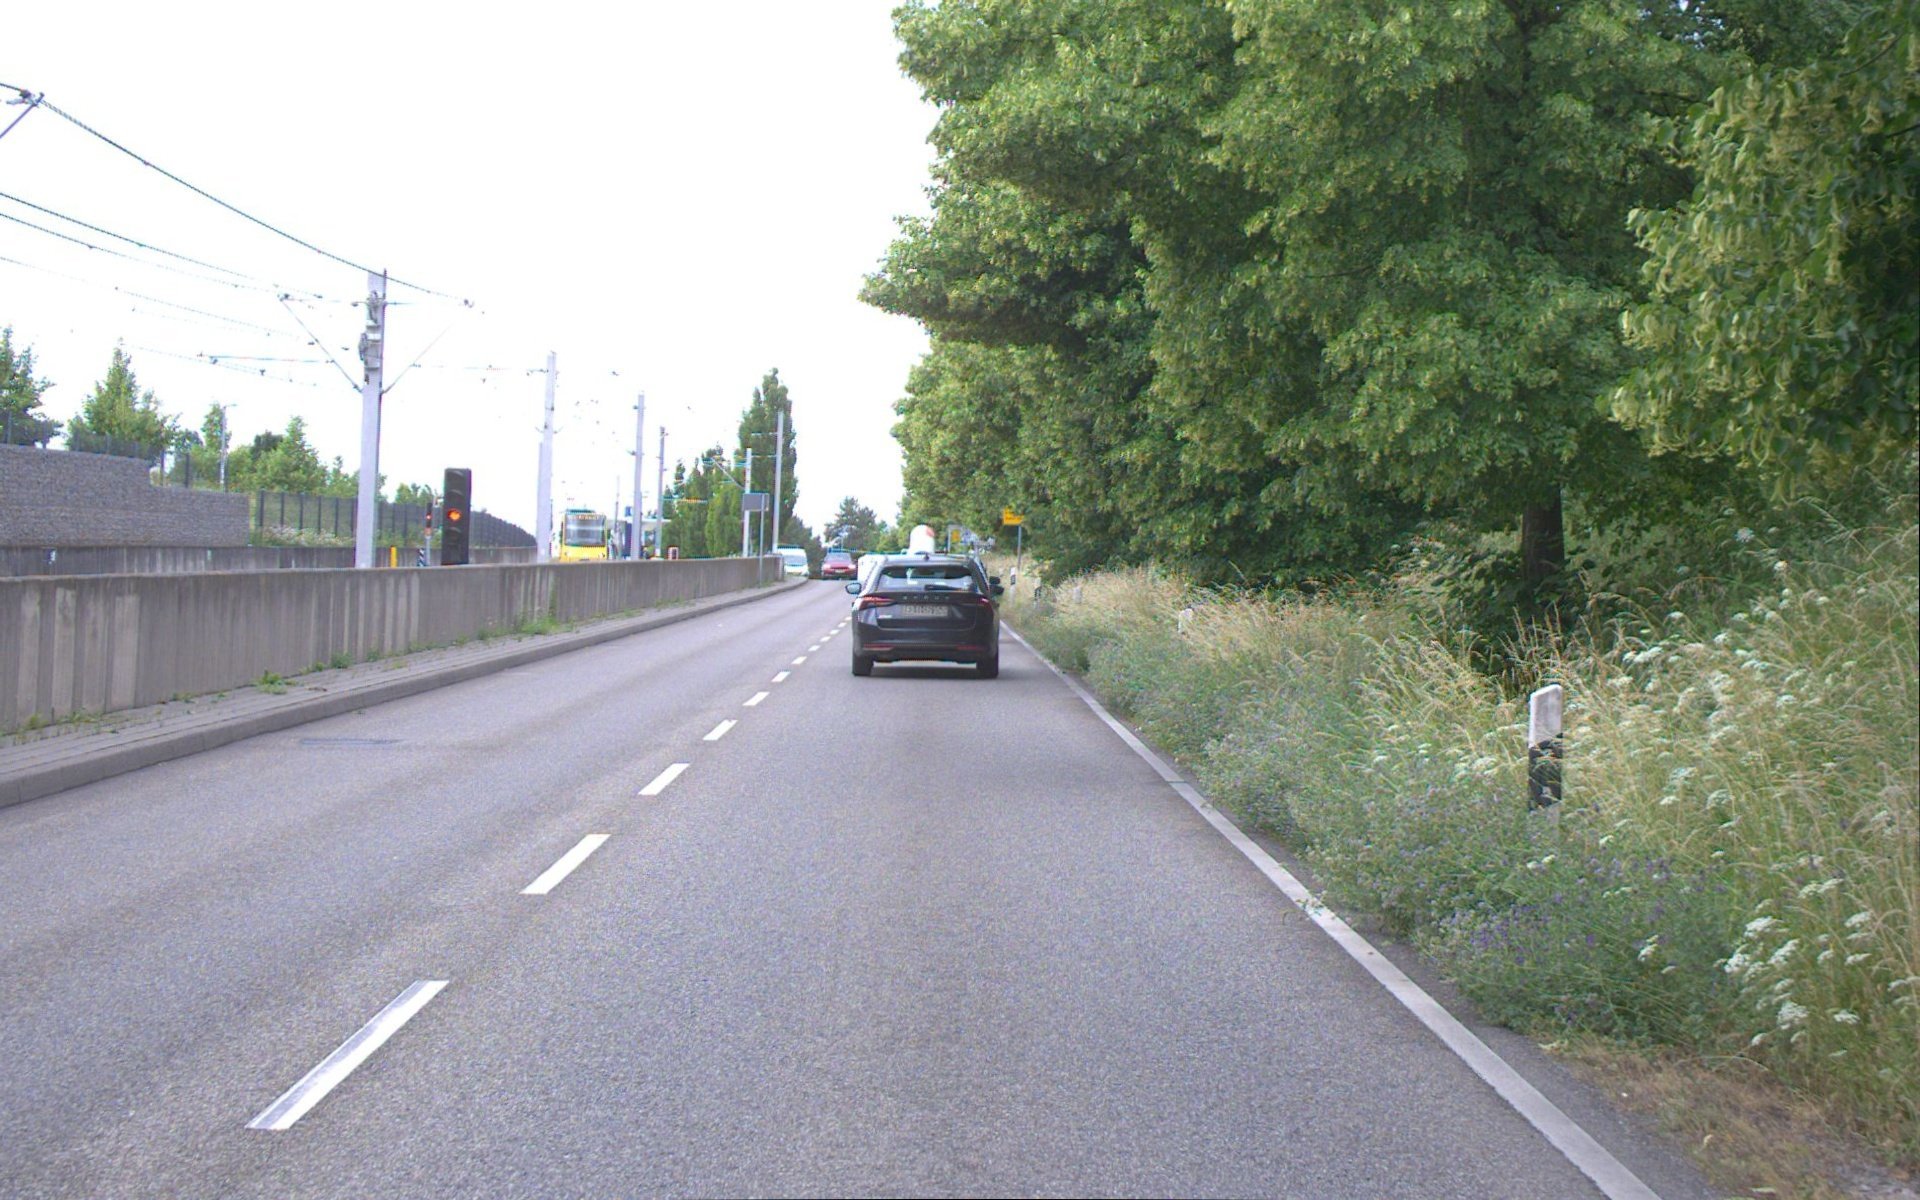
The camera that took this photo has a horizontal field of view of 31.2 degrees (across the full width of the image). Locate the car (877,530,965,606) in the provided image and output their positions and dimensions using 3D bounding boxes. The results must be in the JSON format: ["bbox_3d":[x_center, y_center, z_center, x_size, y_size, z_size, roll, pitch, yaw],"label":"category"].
[{"bbox_3d":[-0.914,-0.735,81.078,1.993,1.734,4.000,1,0,0],"label":"car"}]

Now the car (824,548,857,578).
[{"bbox_3d":[-6.244,-1.944,180.229,1.662,1.540,3.953,1,1,-1],"label":"car"}]

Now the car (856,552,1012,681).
[{"bbox_3d":[-0.318,0.161,41.725,1.781,1.463,4.000,1,1,0],"label":"car"}]

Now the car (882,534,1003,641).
[{"bbox_3d":[-0.305,-0.237,59.189,1.993,1.747,4.000,1,1,0],"label":"car"}]

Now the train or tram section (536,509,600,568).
[{"bbox_3d":[-22.644,-3.457,197.845,2.811,3.106,18.920,1,0,-9],"label":"train or tram section"}]
